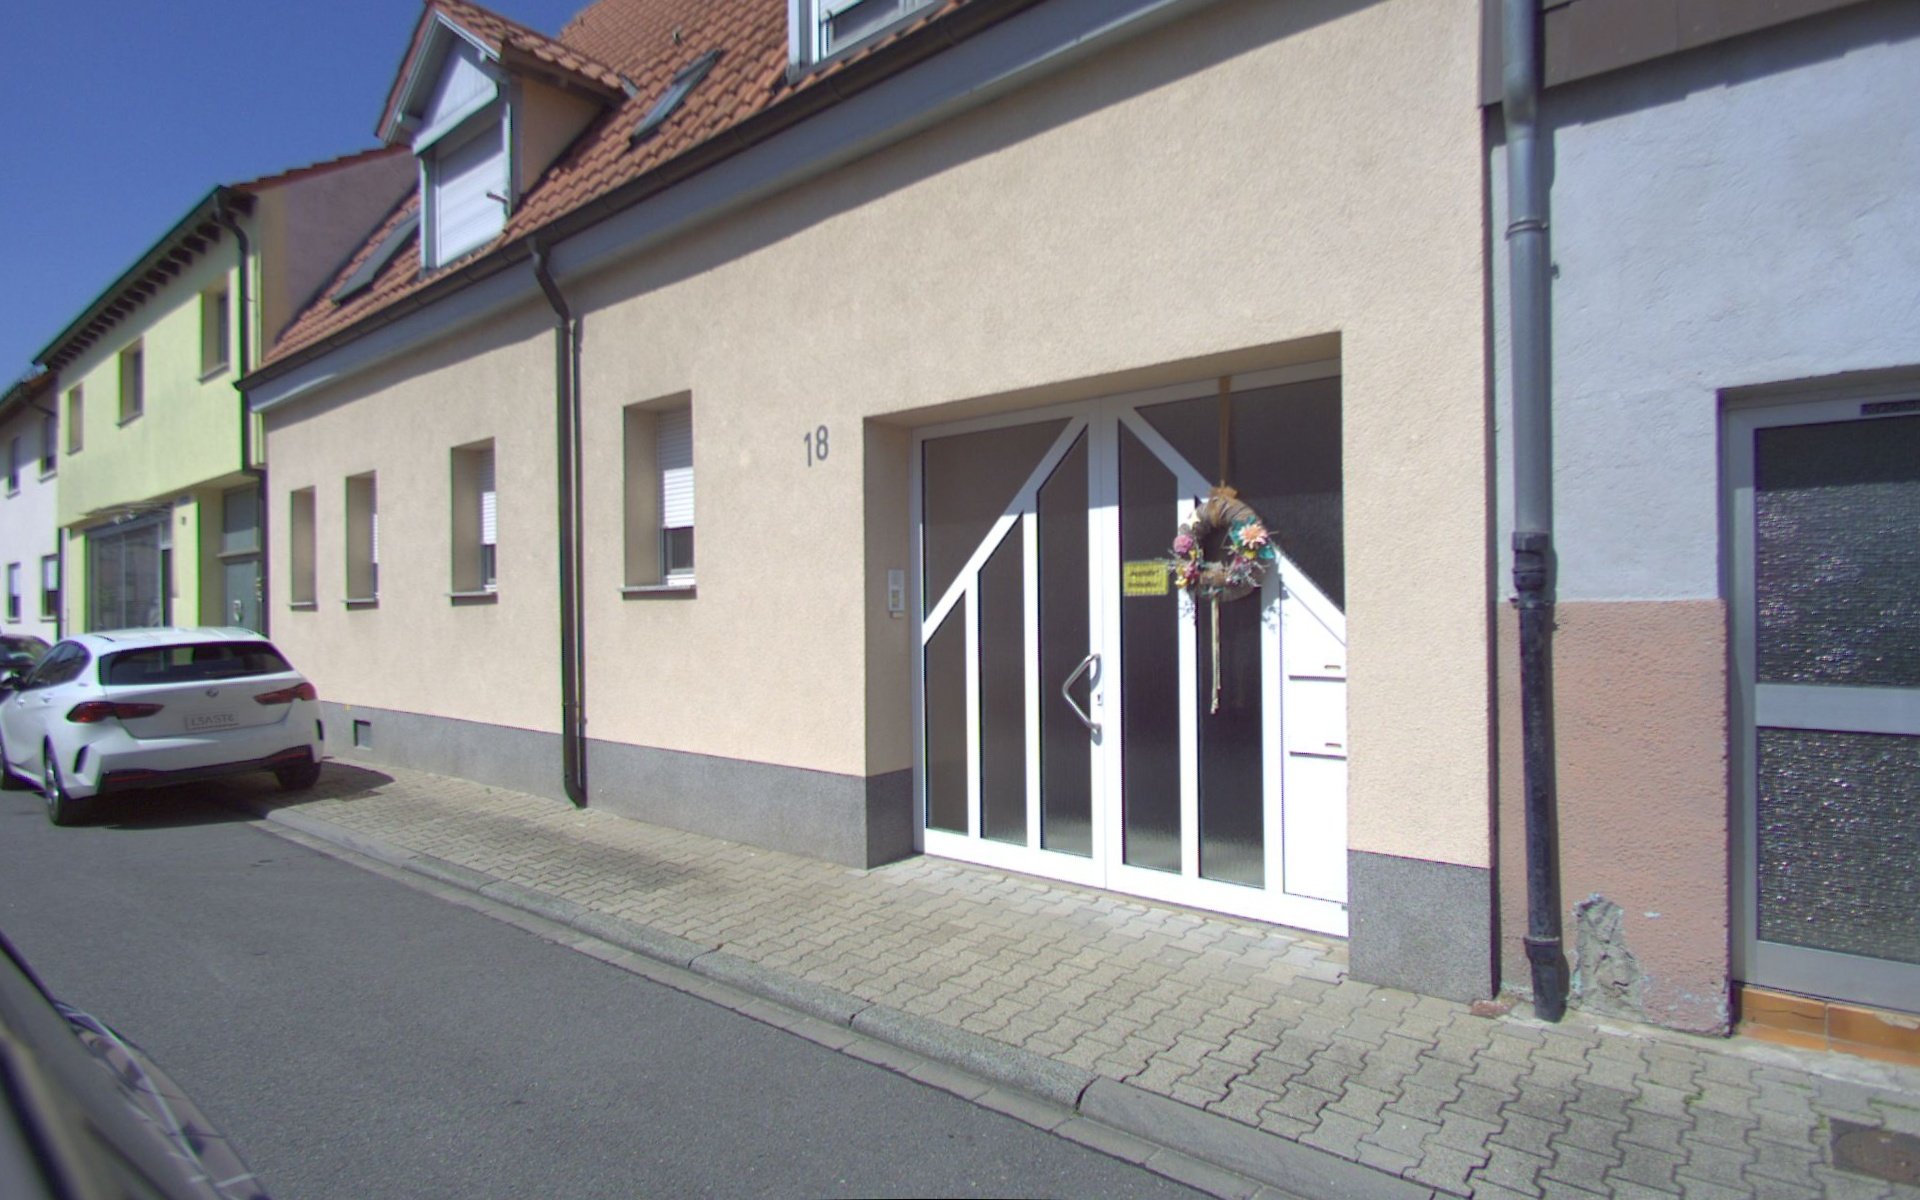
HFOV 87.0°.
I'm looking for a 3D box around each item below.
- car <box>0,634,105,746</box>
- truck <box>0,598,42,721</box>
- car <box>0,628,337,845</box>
[{"bbox_3d":[-13.951,1.189,14.337,4.626,1.405,1.903,-1,-4,39],"label":"car"},{"bbox_3d":[-18.204,1.014,17.964,5.076,2.029,2.160,-1,-2,40],"label":"truck"},{"bbox_3d":[-7.295,0.992,9.024,4.212,1.465,1.764,-1,-2,41],"label":"car"}]
